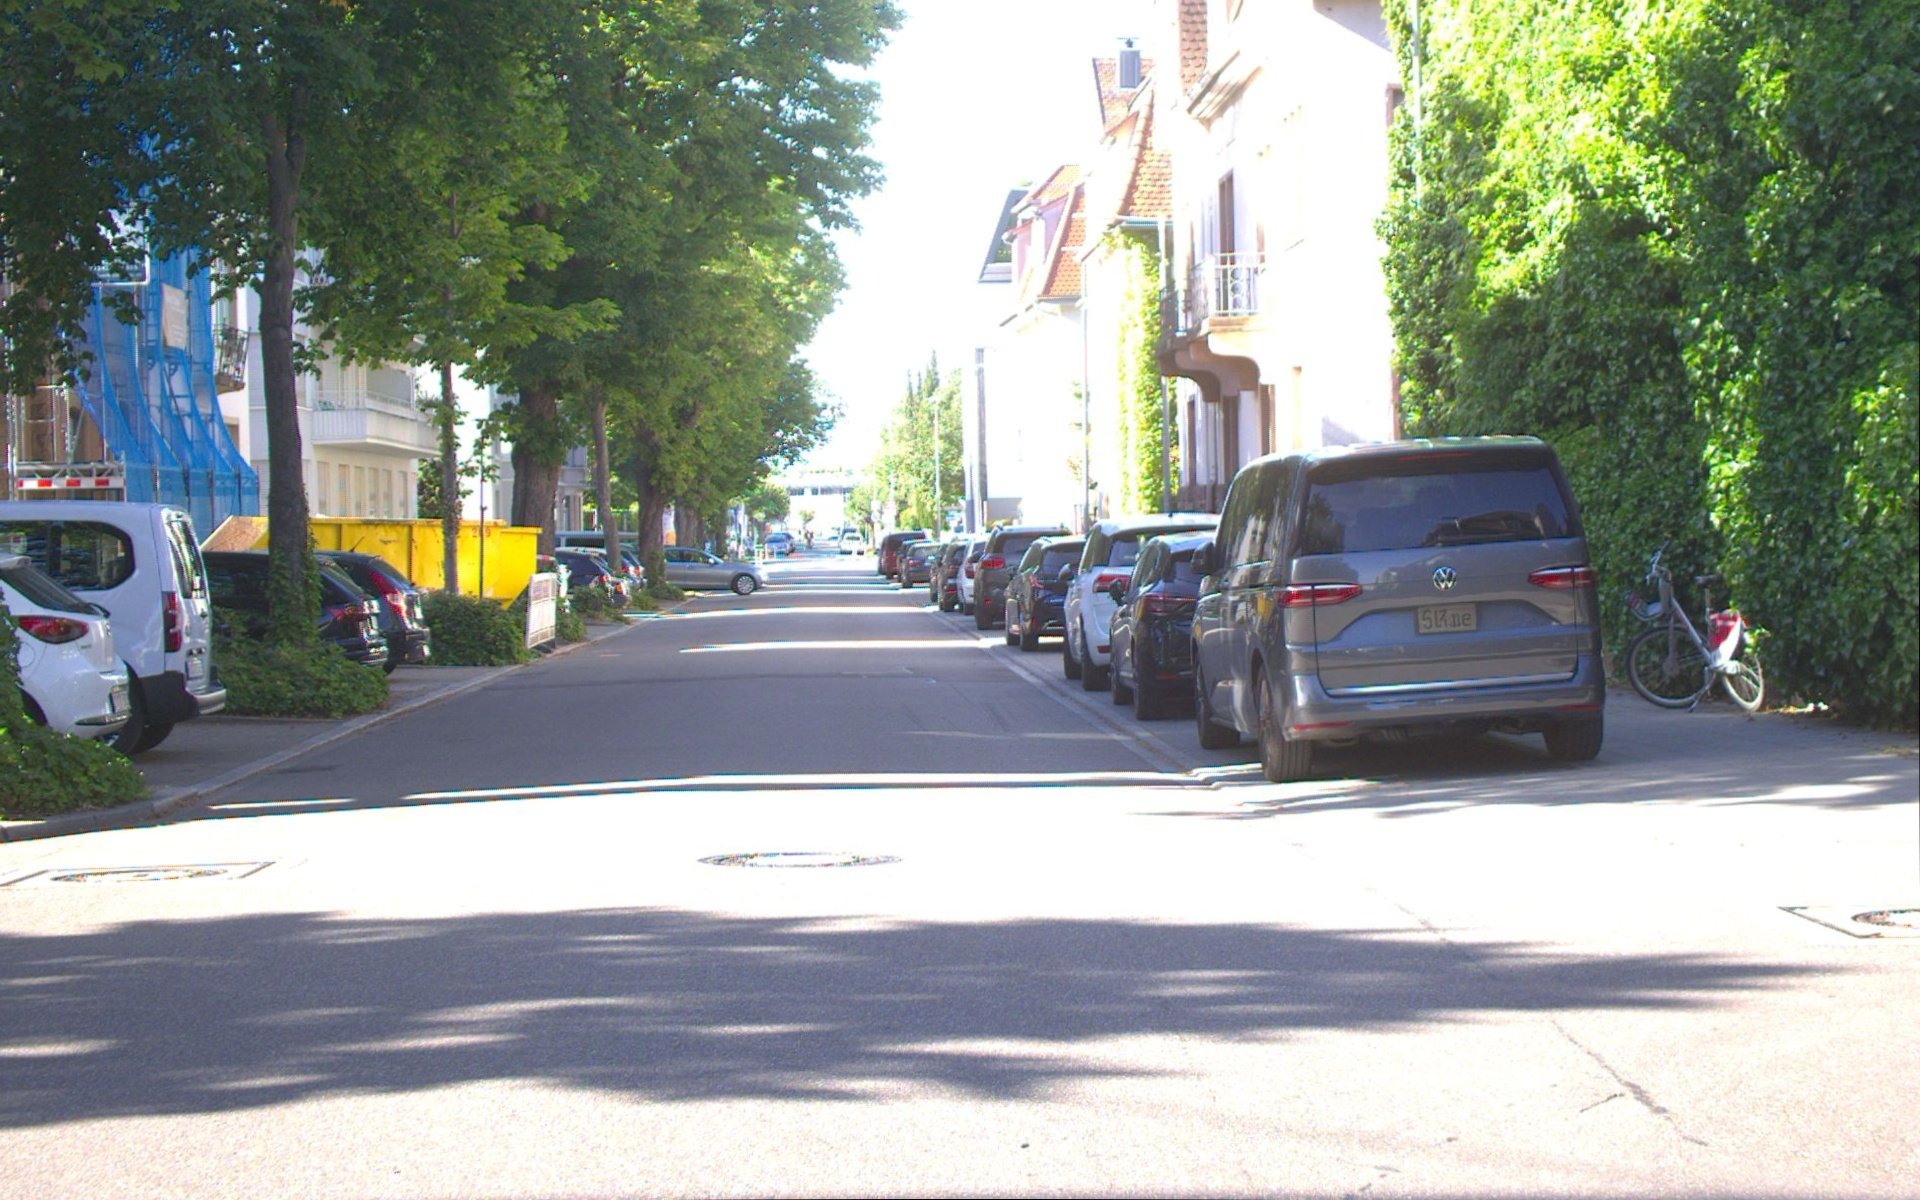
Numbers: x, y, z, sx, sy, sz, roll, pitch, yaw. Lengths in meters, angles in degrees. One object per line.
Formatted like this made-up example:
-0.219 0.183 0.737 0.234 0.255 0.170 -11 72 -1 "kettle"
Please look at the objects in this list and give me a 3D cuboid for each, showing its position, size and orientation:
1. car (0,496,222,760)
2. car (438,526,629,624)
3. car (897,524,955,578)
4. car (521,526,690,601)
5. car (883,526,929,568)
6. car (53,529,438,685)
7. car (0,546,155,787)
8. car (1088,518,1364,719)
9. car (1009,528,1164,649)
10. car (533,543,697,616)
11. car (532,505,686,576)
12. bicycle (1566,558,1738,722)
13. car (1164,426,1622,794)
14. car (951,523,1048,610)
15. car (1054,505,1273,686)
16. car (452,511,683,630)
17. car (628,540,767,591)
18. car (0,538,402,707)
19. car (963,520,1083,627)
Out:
-7.268 0.159 23.873 3.986 1.755 1.798 1 0 -6 "car"
-9.282 -0.561 74.696 3.986 2.007 2.001 -1 1 -10 "car"
-1.105 -1.584 110.095 1.771 1.625 3.866 -1 1 -1 "car"
-8.848 -0.923 86.011 4.006 1.729 1.894 1 2 0 "car"
-2.184 -2.152 138.598 1.771 1.625 3.866 -1 1 -1 "car"
-7.782 0.054 37.666 3.986 1.546 1.838 -2 2 -10 "car"
-7.238 0.373 21.674 3.986 1.459 1.798 1 0 -6 "car"
2.071 0.095 27.740 1.690 1.393 3.806 -4 2 -2 "car"
1.591 -0.185 44.412 1.771 1.450 3.866 -1 1 -1 "car"
-8.863 -0.539 88.520 4.006 1.729 1.894 1 2 0 "car"
-9.693 -1.657 95.148 4.006 1.834 2.000 1 2 0 "car"
4.694 0.245 23.468 0.588 1.020 2.370 -2 1 -2 "bicycle"
2.485 -0.002 20.938 1.904 1.864 4.674 -4 2 -2 "car"
0.747 -0.686 68.029 1.771 1.625 3.866 -1 1 -1 "car"
1.906 -0.090 33.232 1.789 1.612 3.866 -1 1 -1 "car"
-7.091 -0.542 61.915 3.986 2.007 2.001 -1 1 -10 "car"
-7.692 -1.024 100.768 3.986 1.404 1.702 -1 1 -5 "car"
-7.465 0.196 32.671 3.987 1.464 1.864 -1 2 0 "car"
0.983 -0.463 55.621 1.771 1.625 3.866 -1 1 -1 "car"
